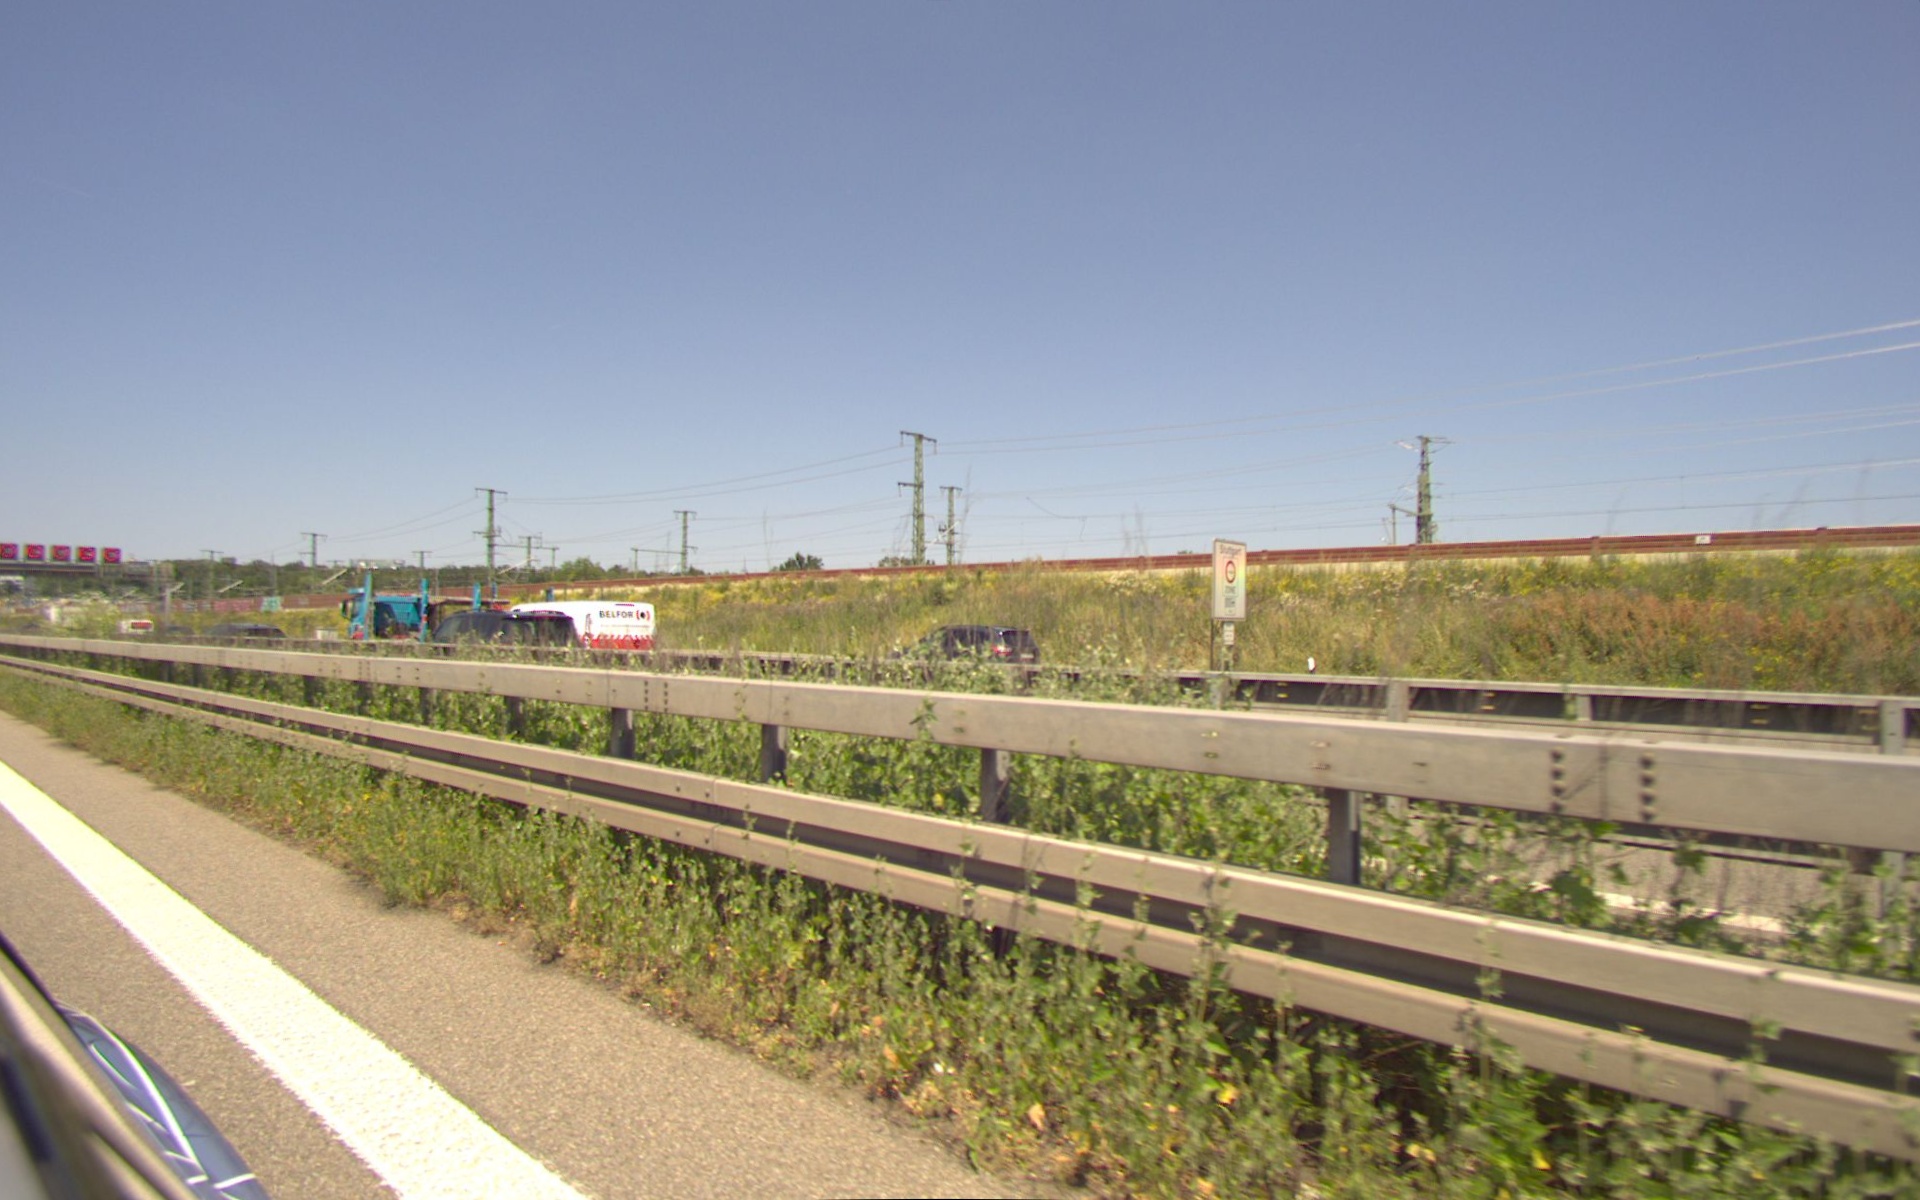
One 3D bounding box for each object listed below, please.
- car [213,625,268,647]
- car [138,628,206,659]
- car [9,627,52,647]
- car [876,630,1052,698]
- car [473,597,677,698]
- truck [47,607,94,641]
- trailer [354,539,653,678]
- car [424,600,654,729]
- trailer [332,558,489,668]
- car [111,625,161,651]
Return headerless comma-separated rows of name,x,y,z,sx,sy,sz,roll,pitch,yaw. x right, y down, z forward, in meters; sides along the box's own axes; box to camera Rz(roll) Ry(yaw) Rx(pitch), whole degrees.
car,-47.052,2.348,66.148,4.582,1.428,1.900,-1,-3,41
car,-38.553,2.125,49.476,4.131,1.354,1.867,0,-2,41
car,-75.257,2.990,81.918,5.392,1.623,1.900,-1,-3,40
car,0.050,1.541,25.488,4.236,1.526,1.897,-1,-2,41
car,-8.800,1.006,22.875,5.429,2.029,1.973,-1,-1,41
truck,-98.379,2.648,111.885,7.777,3.493,2.828,-2,0,42
trailer,-16.325,0.406,34.856,15.968,3.897,3.019,-1,-2,41
car,-7.010,0.973,16.703,3.998,1.863,1.972,-1,-2,41
trailer,-21.406,0.536,39.255,7.199,3.897,3.019,-1,-2,41
car,-59.694,2.729,73.288,5.194,1.814,1.900,-2,-3,41
